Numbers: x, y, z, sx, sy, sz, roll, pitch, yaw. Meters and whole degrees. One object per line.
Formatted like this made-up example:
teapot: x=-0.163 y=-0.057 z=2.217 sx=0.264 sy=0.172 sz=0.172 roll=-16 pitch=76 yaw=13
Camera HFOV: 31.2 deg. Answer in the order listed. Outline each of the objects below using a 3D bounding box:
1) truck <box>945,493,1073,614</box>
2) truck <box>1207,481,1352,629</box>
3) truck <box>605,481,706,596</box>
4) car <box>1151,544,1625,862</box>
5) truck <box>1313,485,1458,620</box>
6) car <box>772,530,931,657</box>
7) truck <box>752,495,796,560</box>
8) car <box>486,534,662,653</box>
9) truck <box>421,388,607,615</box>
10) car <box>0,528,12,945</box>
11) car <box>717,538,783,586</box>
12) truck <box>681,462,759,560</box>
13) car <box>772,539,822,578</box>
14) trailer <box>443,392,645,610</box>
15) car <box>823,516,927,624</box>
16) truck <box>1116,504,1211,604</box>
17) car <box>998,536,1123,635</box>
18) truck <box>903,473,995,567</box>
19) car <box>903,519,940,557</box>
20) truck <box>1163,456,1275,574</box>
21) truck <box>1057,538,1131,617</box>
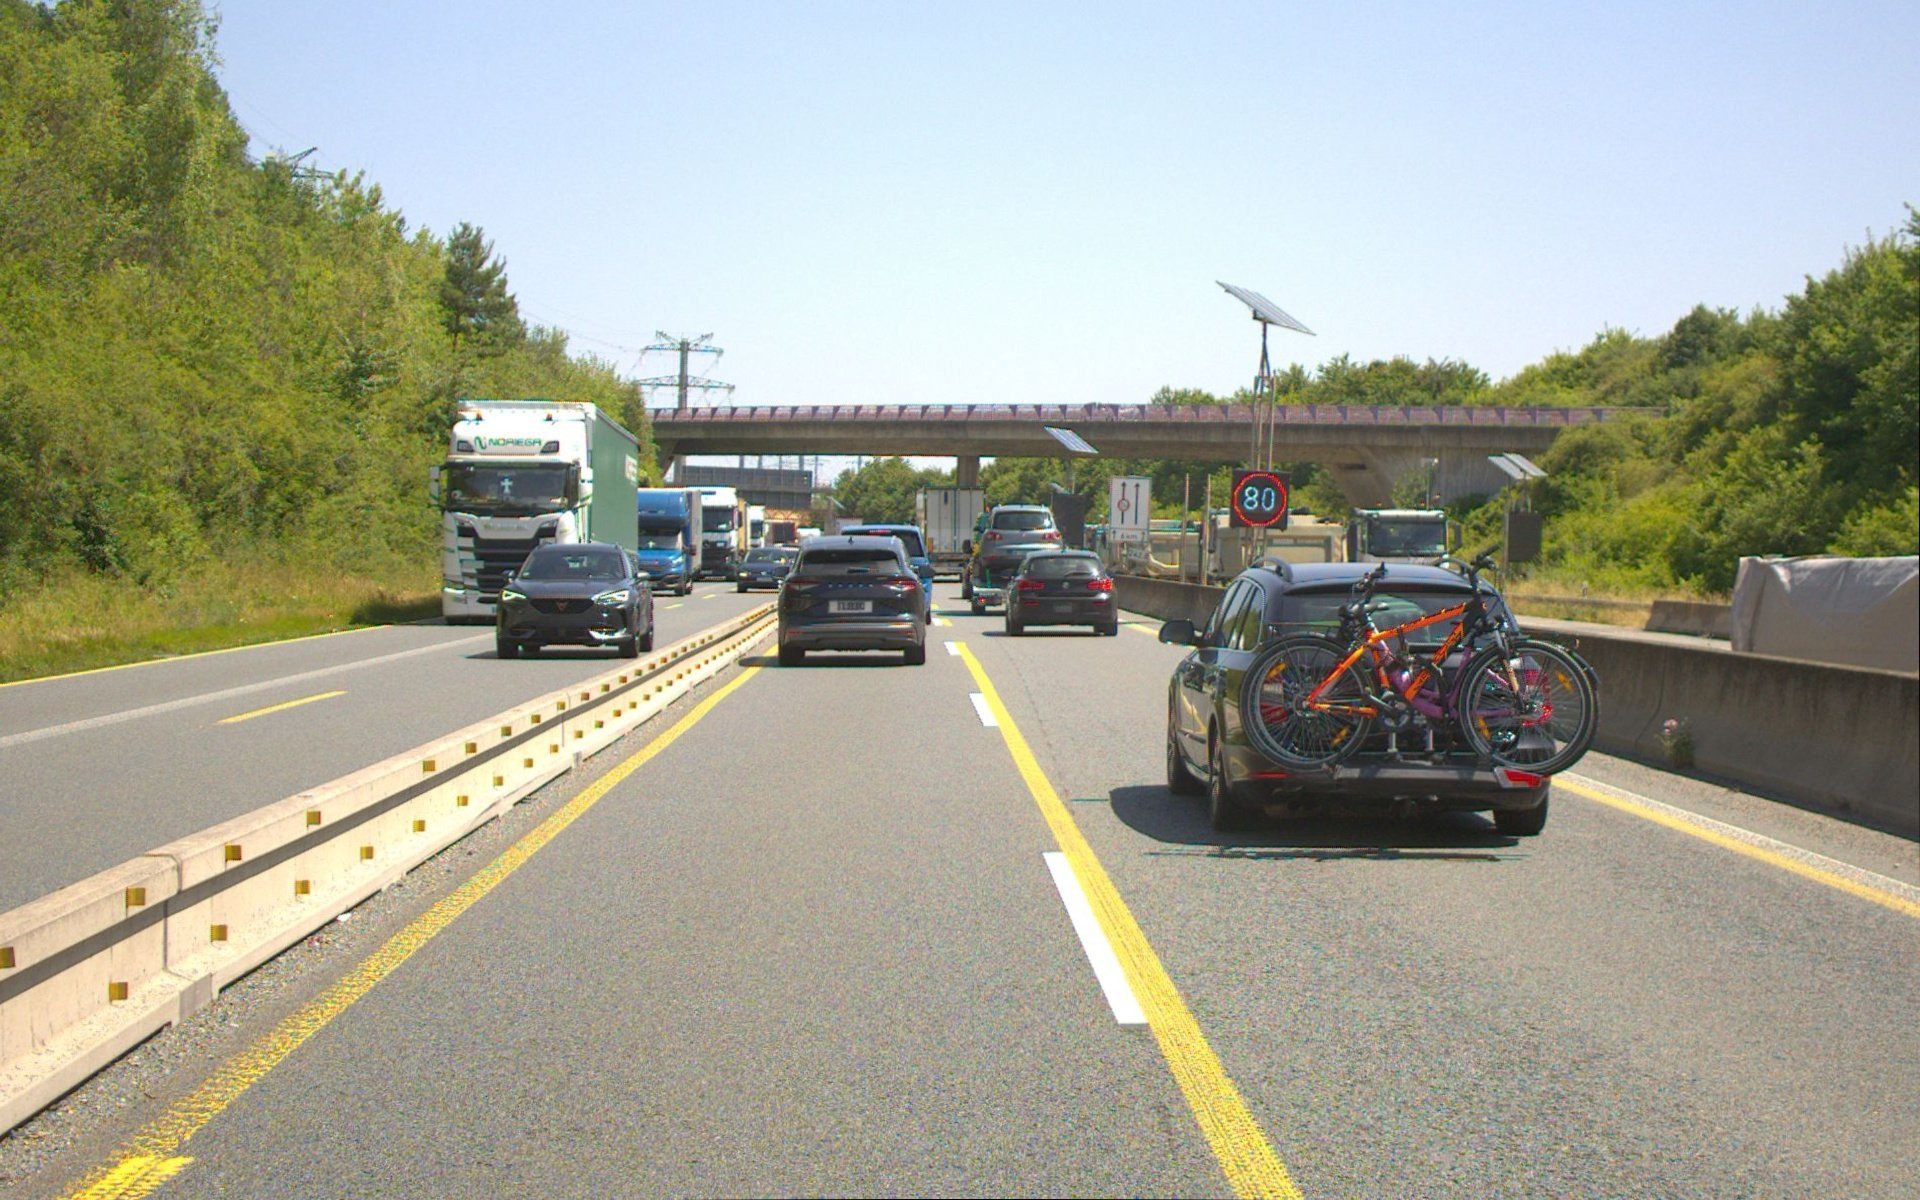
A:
truck: x=1.035 y=-1.080 z=76.930 sx=2.405 sy=2.549 sz=7.501 roll=1 pitch=1 yaw=-2
truck: x=7.952 y=-1.158 z=86.623 sx=2.533 sy=3.499 sz=9.098 roll=1 pitch=1 yaw=-2
truck: x=-9.149 y=-1.883 z=104.037 sx=2.405 sy=3.318 sz=7.500 roll=1 pitch=1 yaw=0
car: x=2.167 y=0.464 z=18.776 sx=1.899 sy=1.485 sz=4.948 roll=1 pitch=1 yaw=-1
truck: x=11.598 y=-1.319 z=94.359 sx=2.687 sy=3.499 sz=8.381 roll=1 pitch=1 yaw=-2
car: x=-1.334 y=-0.108 z=43.624 sx=1.899 sy=1.500 sz=4.276 roll=1 pitch=1 yaw=-1
truck: x=-11.855 y=-4.621 z=219.751 sx=2.409 sy=3.978 sz=10.353 roll=1 pitch=1 yaw=-1
car: x=-5.121 y=-0.110 z=46.104 sx=1.899 sy=1.500 sz=4.276 roll=1 pitch=1 yaw=-1
truck: x=-8.378 y=-1.834 z=65.227 sx=2.894 sy=4.104 sz=6.021 roll=0 pitch=1 yaw=-1
car: x=-4.389 y=0.509 z=10.384 sx=1.899 sy=1.511 sz=4.276 roll=1 pitch=1 yaw=-1
car: x=-6.745 y=-1.225 z=110.757 sx=1.761 sy=1.485 sz=4.402 roll=1 pitch=1 yaw=1
truck: x=-10.269 y=-3.802 z=147.792 sx=2.649 sy=3.978 sz=9.651 roll=2 pitch=1 yaw=-1
car: x=-6.402 y=-1.623 z=135.255 sx=1.841 sy=1.485 sz=4.511 roll=-1 pitch=1 yaw=-1
trailer: x=-8.526 y=-1.997 z=72.094 sx=2.891 sy=4.111 sz=13.245 roll=1 pitch=1 yaw=-1
car: x=-1.600 y=-0.583 z=65.835 sx=1.899 sy=1.962 sz=4.276 roll=1 pitch=1 yaw=-1
truck: x=7.480 y=-1.735 z=127.516 sx=2.687 sy=3.545 sz=9.603 roll=1 pitch=1 yaw=-1
car: x=1.648 y=-0.263 z=57.818 sx=1.899 sy=1.580 sz=4.276 roll=1 pitch=1 yaw=-1
truck: x=-0.544 y=-3.364 z=146.230 sx=3.292 sy=3.832 sz=10.111 roll=1 pitch=1 yaw=-3
car: x=-2.021 y=-3.240 z=180.819 sx=1.899 sy=1.962 sz=4.276 roll=1 pitch=1 yaw=-1
truck: x=8.123 y=-2.648 z=108.937 sx=2.538 sy=3.545 sz=9.603 roll=1 pitch=1 yaw=-2
truck: x=6.190 y=-1.106 z=160.372 sx=2.687 sy=3.545 sz=9.326 roll=1 pitch=1 yaw=-2
